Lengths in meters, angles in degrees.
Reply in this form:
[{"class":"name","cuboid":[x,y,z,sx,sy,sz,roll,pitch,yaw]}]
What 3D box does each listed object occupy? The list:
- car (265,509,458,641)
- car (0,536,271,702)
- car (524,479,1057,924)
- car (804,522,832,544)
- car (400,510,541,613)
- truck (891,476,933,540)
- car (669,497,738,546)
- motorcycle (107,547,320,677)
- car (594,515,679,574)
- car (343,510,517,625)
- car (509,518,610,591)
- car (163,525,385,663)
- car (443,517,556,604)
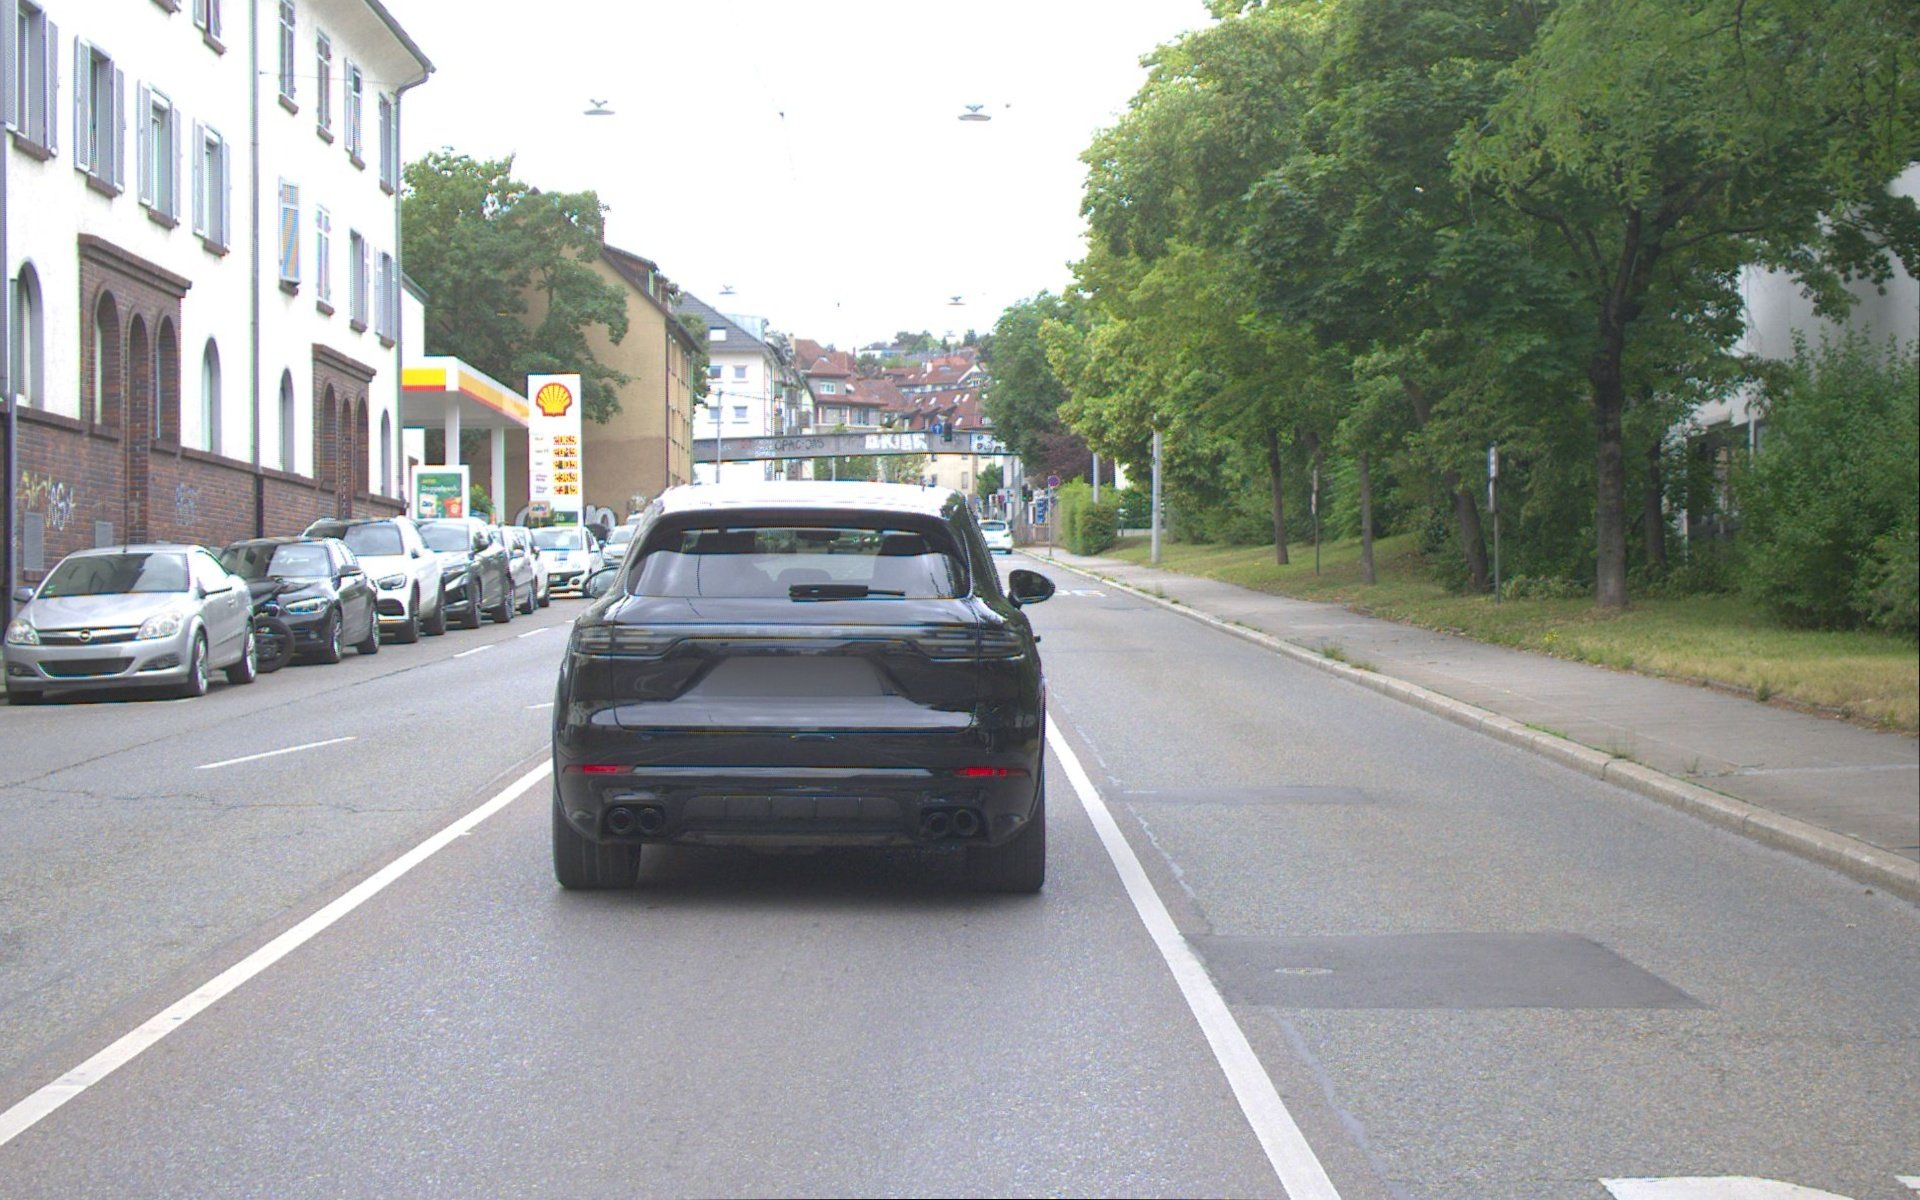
[{"class":"car","cuboid":[-7.885,-0.376,45.662,1.845,1.615,4.644,-1,2,-1]},{"class":"car","cuboid":[-7.673,0.126,32.073,1.727,1.369,4.338,-1,2,-2]},{"class":"car","cuboid":[-0.645,0.314,14.919,1.993,1.656,4.001,1,2,0]},{"class":"car","cuboid":[-10.089,-4.776,244.600,1.765,1.503,4.000,0,1,0]},{"class":"car","cuboid":[-7.953,-0.651,56.129,1.727,1.553,4.082,-3,1,-1]},{"class":"truck","cuboid":[-2.647,-5.083,191.112,2.266,3.412,9.879,0,1,-1]},{"class":"car","cuboid":[-8.545,-2.626,114.903,1.915,1.572,4.700,-1,1,0]},{"class":"motorcycle","cuboid":[-7.756,0.113,35.708,2.039,1.231,0.808,-3,2,-18]},{"class":"car","cuboid":[-8.308,-1.451,88.480,1.790,1.445,4.218,-1,1,0]},{"class":"car","cuboid":[-7.762,-0.516,50.750,1.727,1.593,4.502,-1,2,2]},{"class":"car","cuboid":[-8.149,-0.950,70.183,1.619,1.420,3.665,-1,2,0]},{"class":"car","cuboid":[-7.754,-0.110,39.194,1.727,1.424,4.192,-1,2,-1]},{"class":"car","cuboid":[-8.153,-0.723,61.061,1.547,1.470,3.604,-1,1,-1]}]
